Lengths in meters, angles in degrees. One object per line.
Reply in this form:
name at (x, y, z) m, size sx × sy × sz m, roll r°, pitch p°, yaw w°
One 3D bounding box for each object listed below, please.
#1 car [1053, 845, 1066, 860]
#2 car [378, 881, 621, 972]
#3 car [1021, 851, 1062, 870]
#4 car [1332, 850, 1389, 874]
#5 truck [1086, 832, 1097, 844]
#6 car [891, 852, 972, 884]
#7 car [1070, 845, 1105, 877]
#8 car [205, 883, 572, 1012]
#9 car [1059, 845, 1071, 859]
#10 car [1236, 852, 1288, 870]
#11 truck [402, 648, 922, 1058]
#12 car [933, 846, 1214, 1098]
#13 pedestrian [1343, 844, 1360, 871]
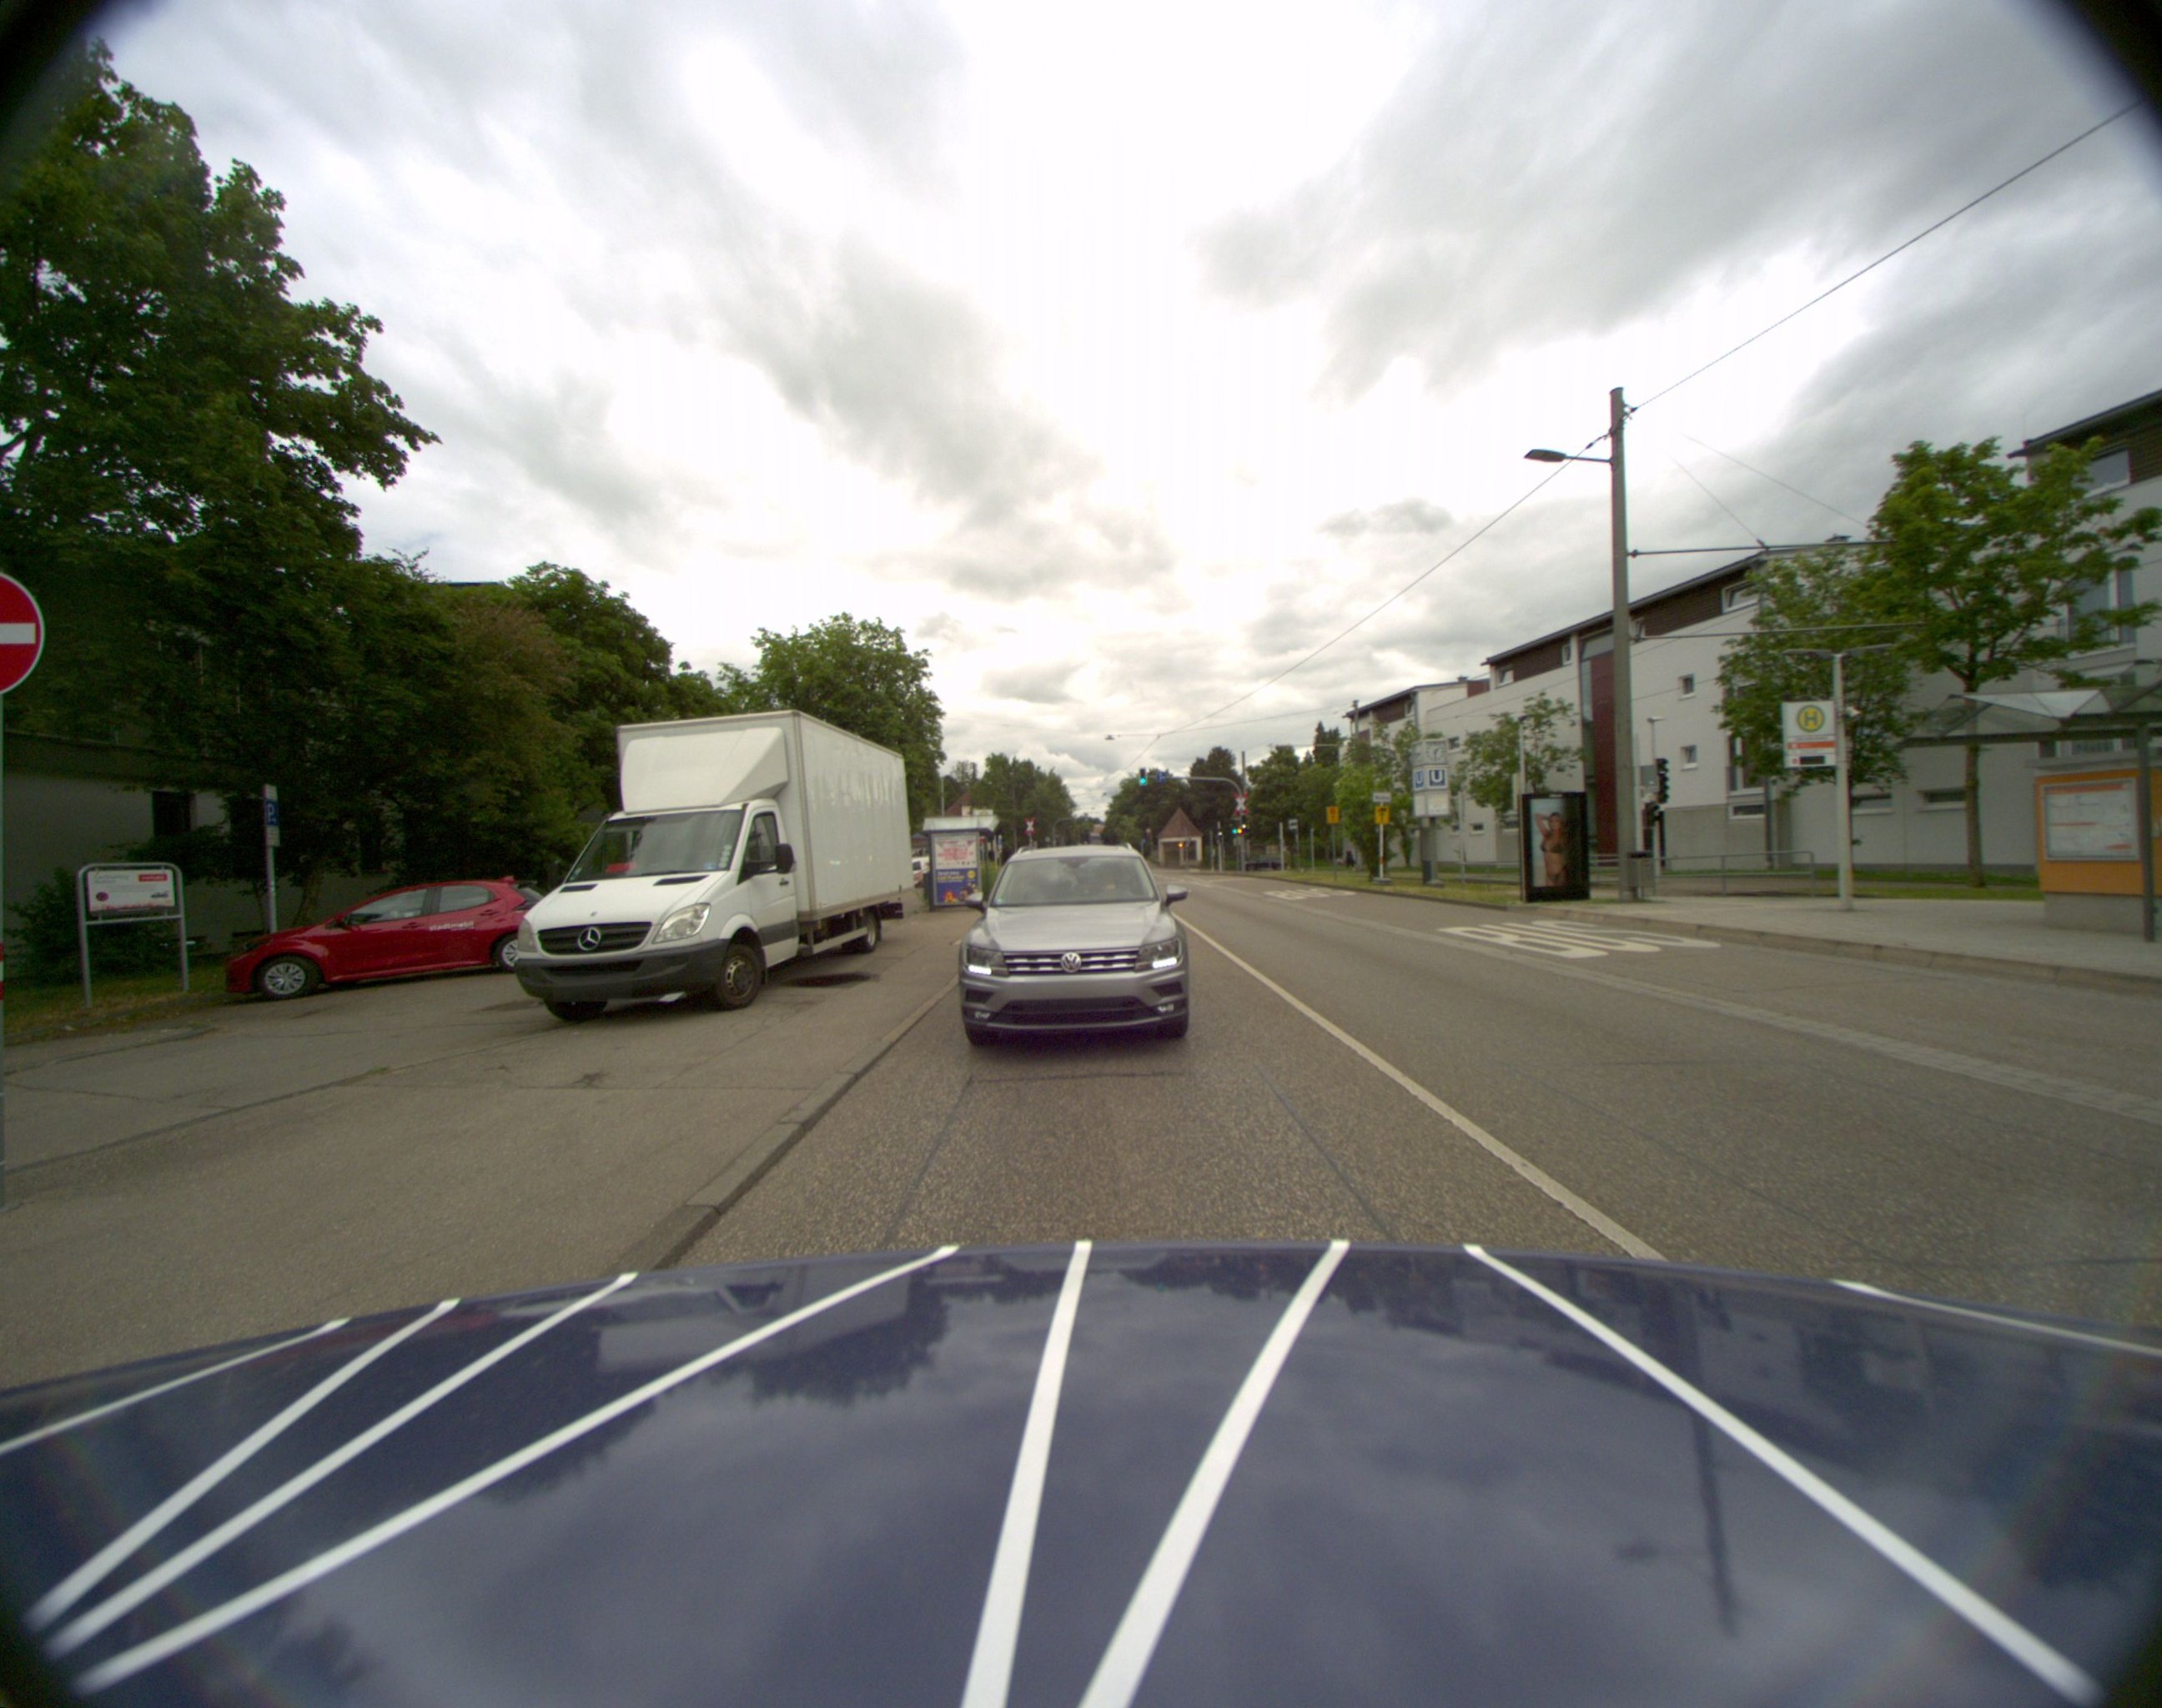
car at (-3.716, -0.309, 132.464) m, size 2.095 × 2.589 × 6.679 m, roll -2°, pitch 1°, yaw -2°
car at (-11.990, 1.429, 16.028) m, size 3.809 × 1.465 × 1.794 m, roll -3°, pitch 1°, yaw -30°
car at (-3.961, 0.639, 76.324) m, size 1.846 × 1.740 × 4.008 m, roll -2°, pitch 1°, yaw 39°
car at (25.658, 0.710, 69.870) m, size 4.469 × 2.002 × 1.999 m, roll 2°, pitch 0°, yaw -6°
truck at (3.123, -4.776, 227.480) m, size 2.776 × 3.697 × 8.466 m, roll 0°, pitch 1°, yaw -1°
car at (-8.977, 0.801, 46.016) m, size 1.846 × 1.738 × 4.704 m, roll -2°, pitch 0°, yaw 38°
car at (0.330, 0.371, 44.582) m, size 1.811 × 1.736 × 3.999 m, roll -2°, pitch 0°, yaw -2°
car at (-10.098, 1.284, 11.493) m, size 3.734 × 1.437 × 1.605 m, roll -3°, pitch 0°, yaw -26°
car at (-3.134, -0.424, 149.885) m, size 2.046 × 2.588 × 5.965 m, roll -2°, pitch 1°, yaw 0°
car at (17.617, 0.638, 74.005) m, size 4.488 × 1.660 × 1.964 m, roll 1°, pitch 0°, yaw -7°
truck at (-4.503, -0.011, 10.578) m, size 2.579 × 3.504 × 7.810 m, roll -2°, pitch 0°, yaw 2°
car at (-0.165, 0.790, 7.504) m, size 1.835 × 1.610 × 4.486 m, roll -4°, pitch 1°, yaw -3°
pedestrian at (16.733, 0.197, 47.015) m, size 0.677 × 1.634 × 0.819 m, roll -1°, pitch -1°, yaw -5°
